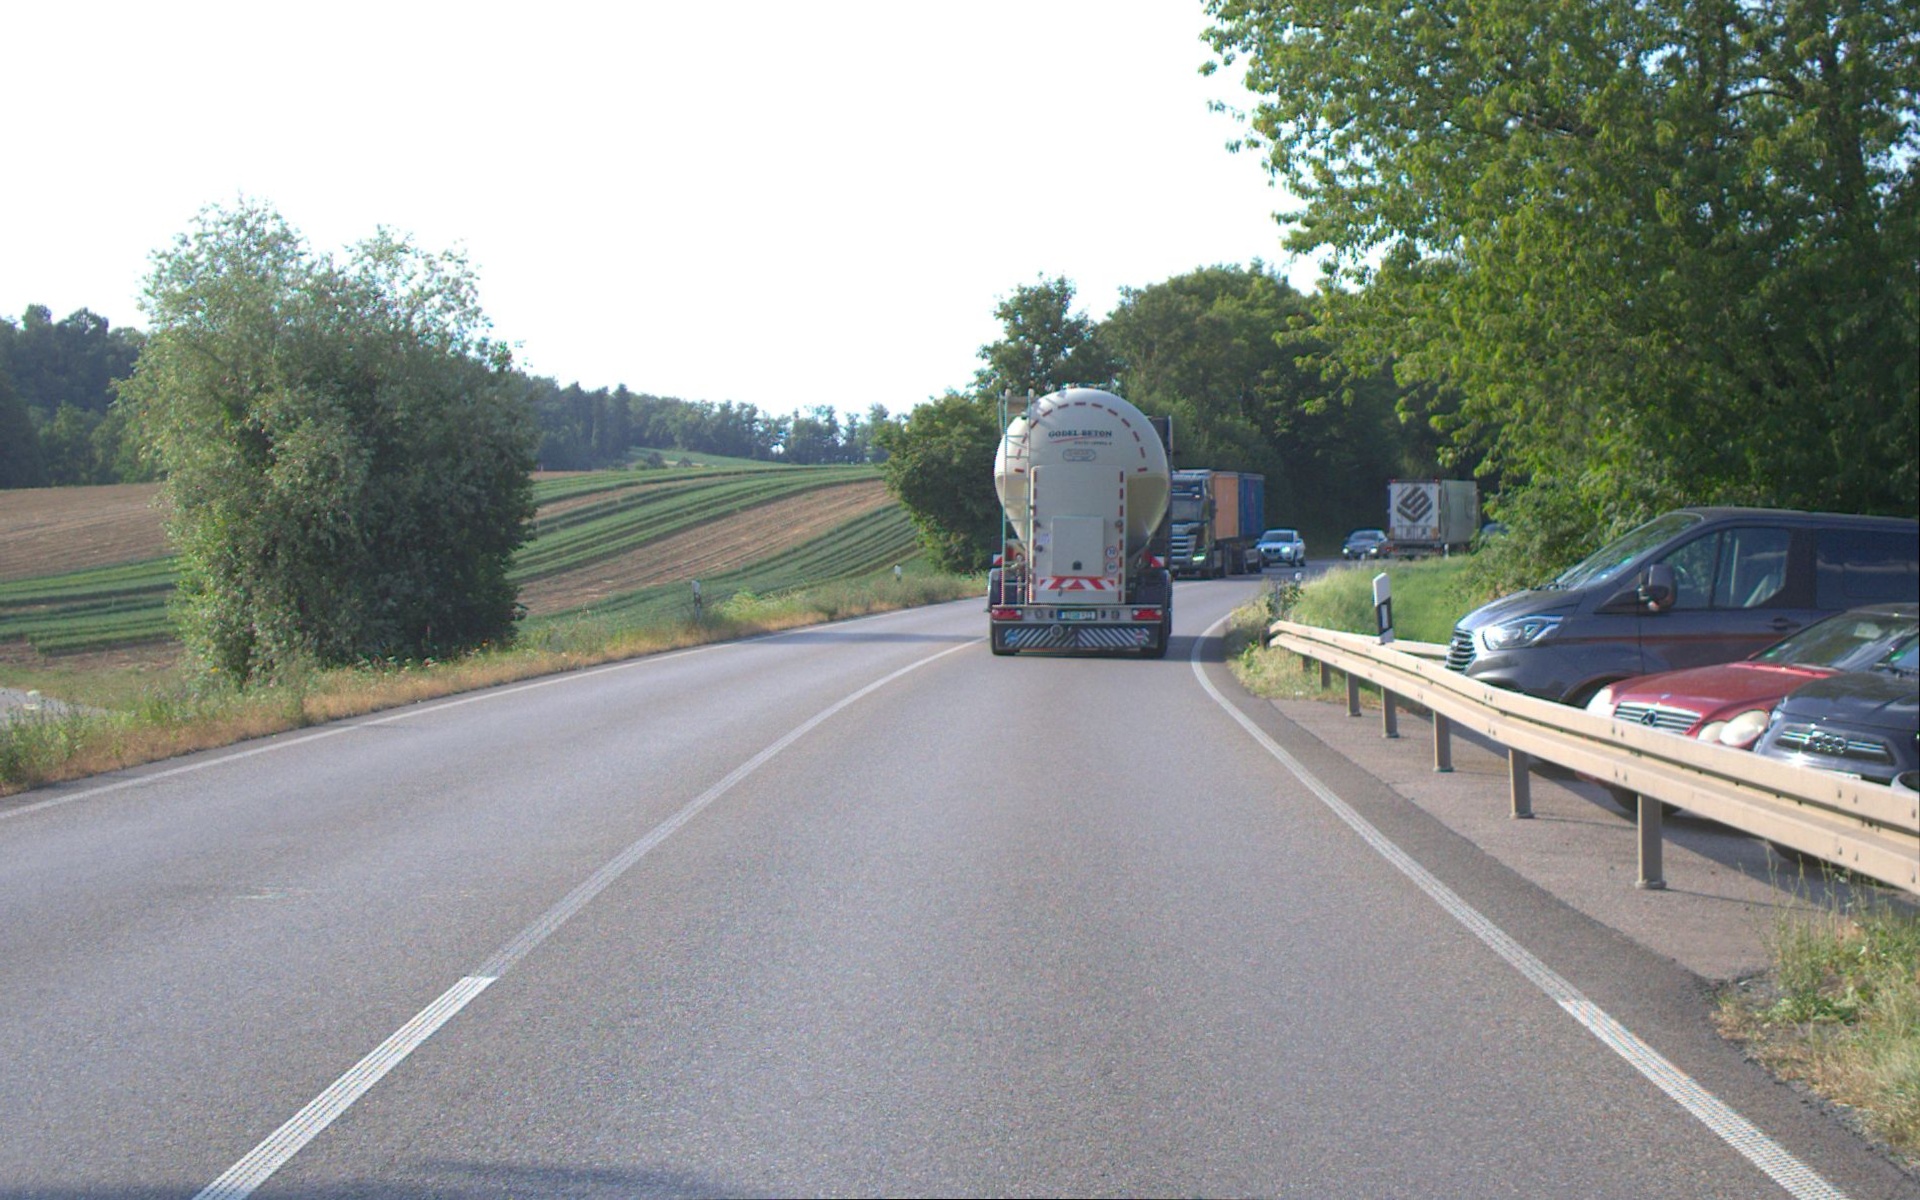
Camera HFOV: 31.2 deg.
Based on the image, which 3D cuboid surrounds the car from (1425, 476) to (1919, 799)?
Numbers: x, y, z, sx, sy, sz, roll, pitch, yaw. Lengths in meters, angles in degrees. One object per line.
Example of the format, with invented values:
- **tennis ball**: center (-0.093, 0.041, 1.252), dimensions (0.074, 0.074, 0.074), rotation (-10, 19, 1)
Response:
- **car**: center (6.094, 0.322, 24.374), dimensions (5.139, 1.937, 1.975), rotation (5, 1, -2)

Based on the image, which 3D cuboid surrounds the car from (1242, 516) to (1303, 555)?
- **car**: center (14.080, -2.905, 154.536), dimensions (1.976, 1.645, 4.359), rotation (0, 2, 15)

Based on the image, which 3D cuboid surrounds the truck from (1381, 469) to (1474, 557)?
- **truck**: center (23.574, -4.393, 172.763), dimensions (3.185, 4.213, 13.164), rotation (0, 2, 14)

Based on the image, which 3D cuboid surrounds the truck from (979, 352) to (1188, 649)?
- **truck**: center (1.890, -1.511, 54.587), dimensions (2.893, 4.128, 13.172), rotation (0, 1, 1)

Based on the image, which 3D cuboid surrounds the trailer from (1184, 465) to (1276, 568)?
- **trailer**: center (10.772, -3.346, 136.496), dimensions (2.366, 3.907, 8.956), rotation (0, 2, 13)

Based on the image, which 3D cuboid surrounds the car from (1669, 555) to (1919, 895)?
- **car**: center (5.897, 0.675, 17.649), dimensions (4.310, 1.504, 1.721), rotation (3, 1, -31)

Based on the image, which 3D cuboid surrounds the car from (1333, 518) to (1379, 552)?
- **car**: center (20.563, -3.373, 178.451), dimensions (1.976, 1.645, 4.360), rotation (0, 2, 12)

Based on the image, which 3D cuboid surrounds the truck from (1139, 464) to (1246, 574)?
- **truck**: center (8.684, -3.030, 127.169), dimensions (2.390, 3.907, 10.154), rotation (0, 2, 13)

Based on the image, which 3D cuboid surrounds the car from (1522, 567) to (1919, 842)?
- **car**: center (5.664, 0.659, 20.526), dimensions (4.310, 1.395, 1.721), rotation (3, 2, -28)
